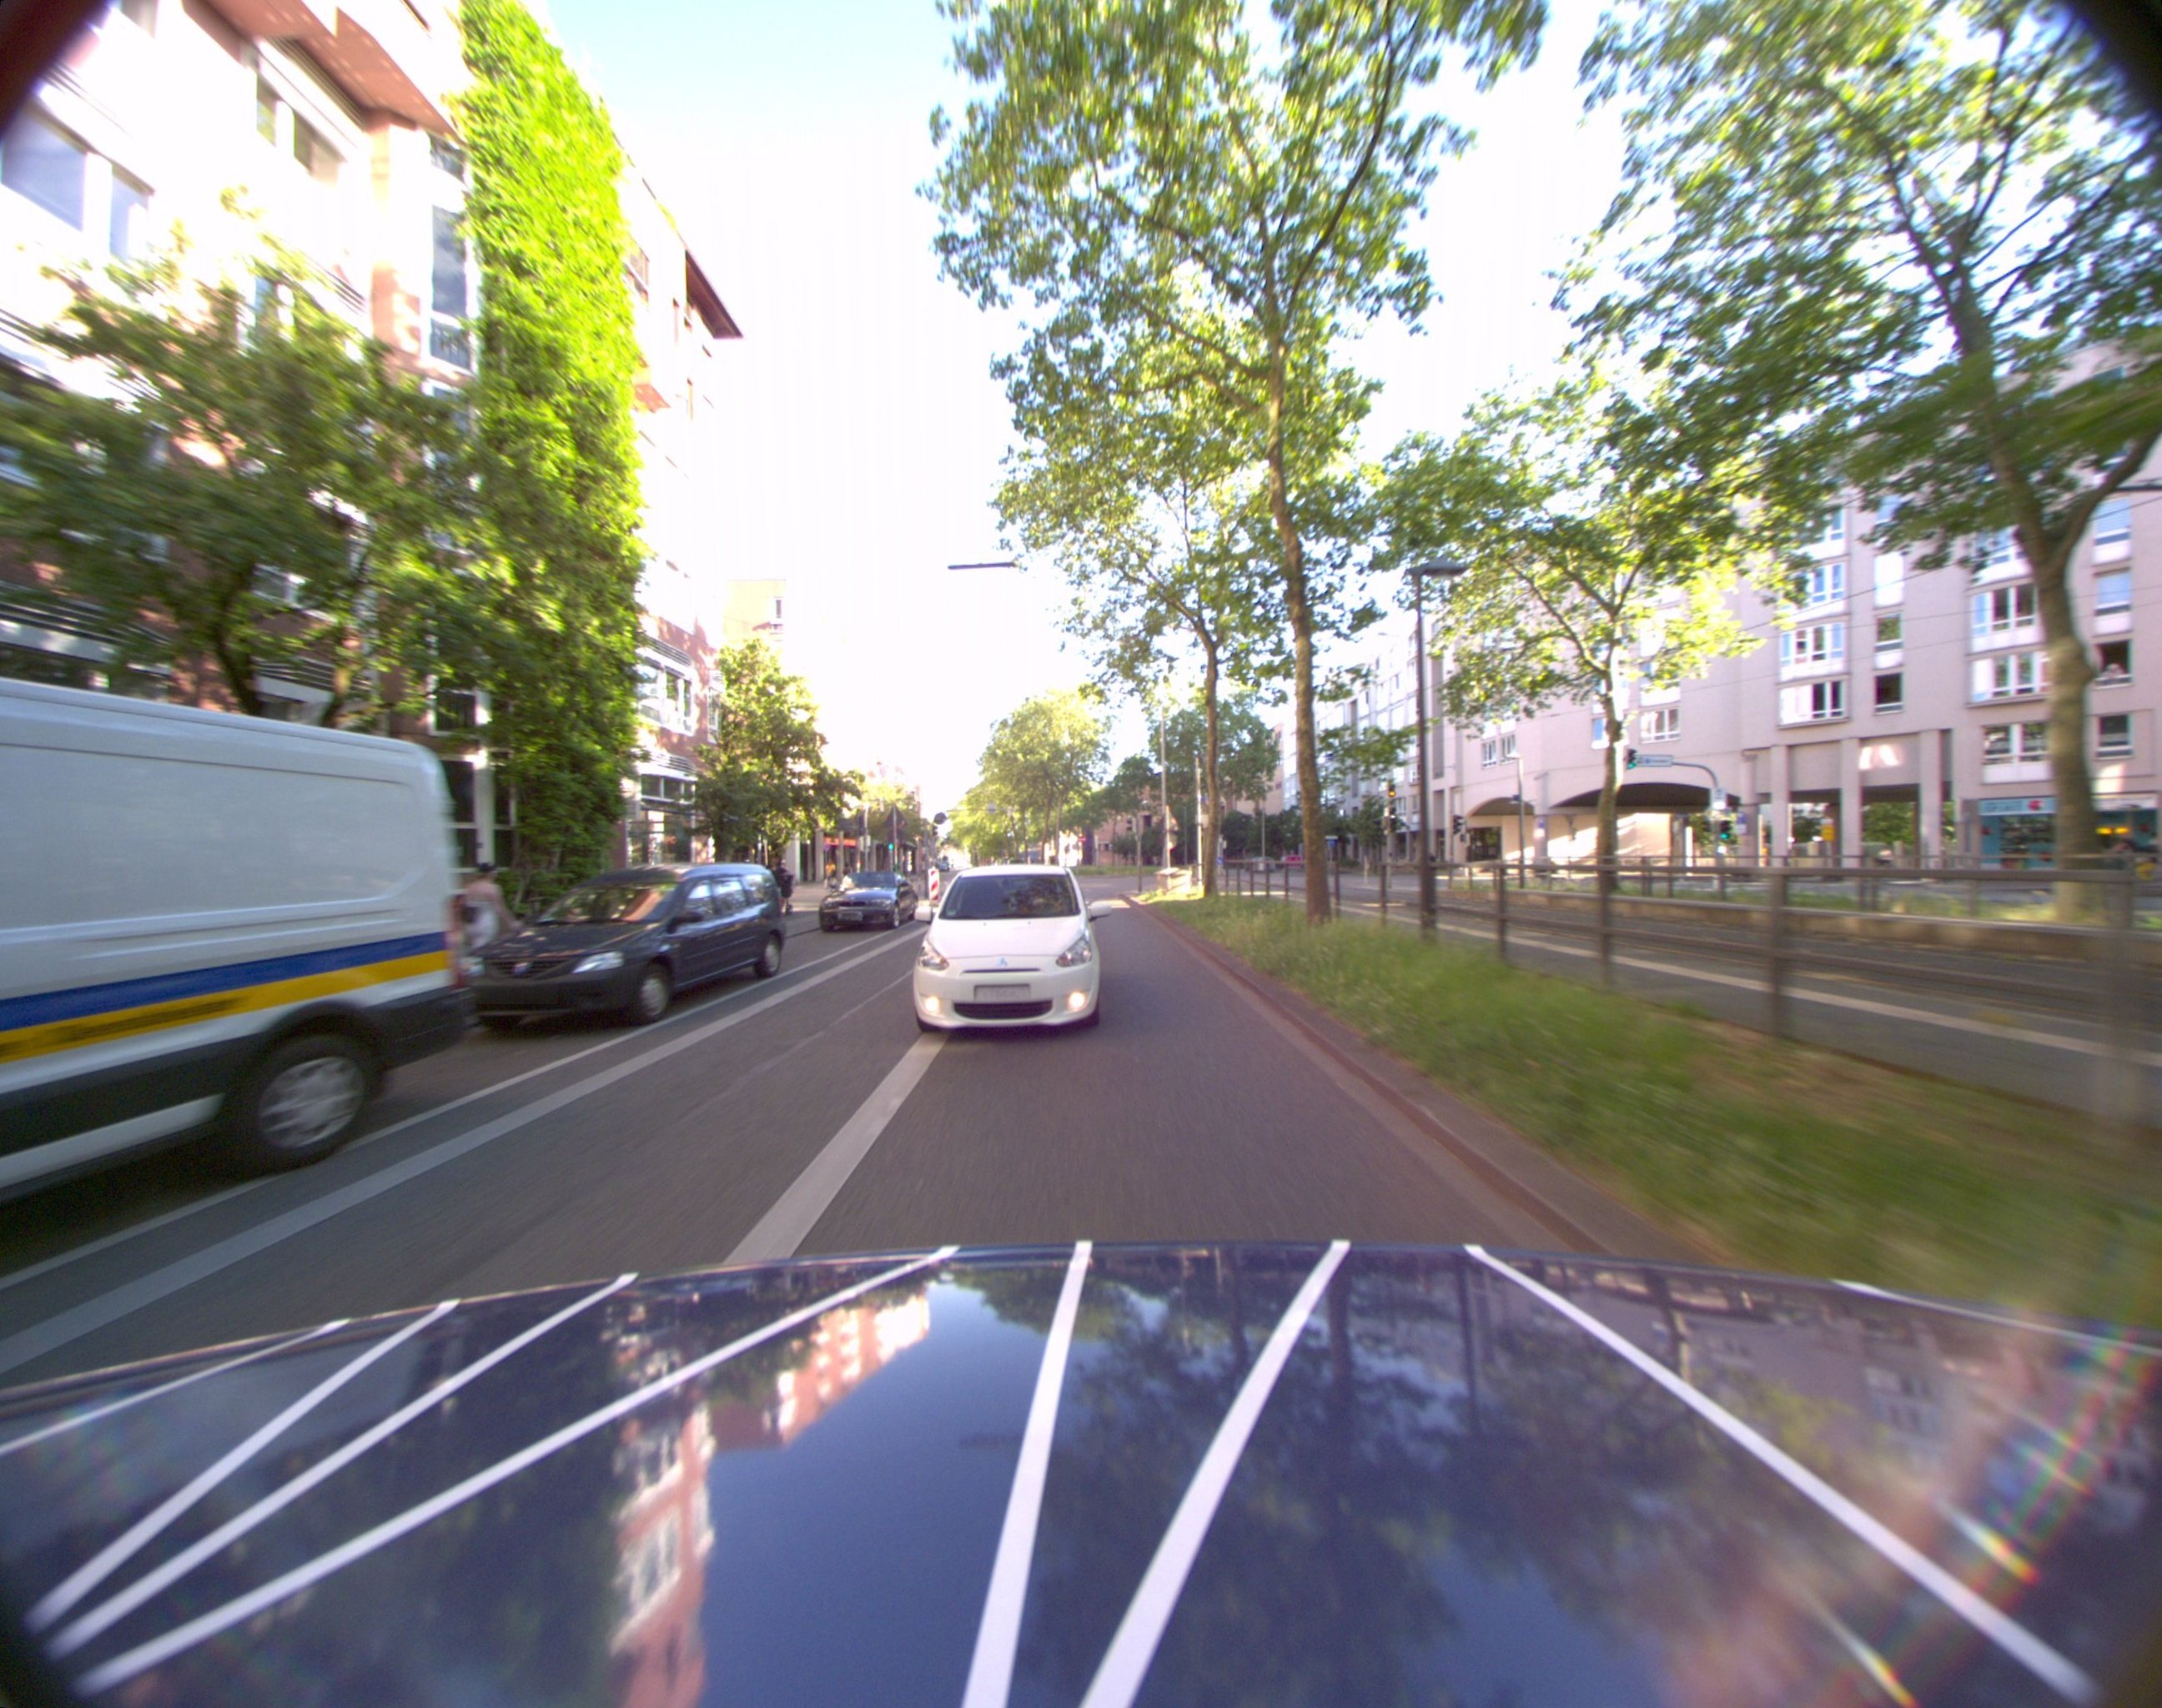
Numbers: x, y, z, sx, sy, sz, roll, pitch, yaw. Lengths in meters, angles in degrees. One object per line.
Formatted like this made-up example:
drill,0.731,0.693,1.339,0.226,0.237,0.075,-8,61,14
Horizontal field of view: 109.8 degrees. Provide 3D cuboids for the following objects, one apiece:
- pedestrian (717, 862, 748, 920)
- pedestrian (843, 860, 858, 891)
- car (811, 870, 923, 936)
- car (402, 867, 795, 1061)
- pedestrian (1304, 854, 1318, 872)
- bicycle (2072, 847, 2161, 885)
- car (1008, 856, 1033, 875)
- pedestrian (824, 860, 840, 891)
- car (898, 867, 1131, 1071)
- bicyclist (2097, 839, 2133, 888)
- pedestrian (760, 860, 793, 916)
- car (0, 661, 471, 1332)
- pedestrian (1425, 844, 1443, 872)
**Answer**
pedestrian,-9.768,1.023,21.311,0.563,1.599,0.599,-1,1,-1
pedestrian,-11.951,1.102,39.395,0.680,1.607,0.556,-1,1,-9
car,-5.107,1.117,18.648,1.809,1.323,3.990,-1,0,-3
car,-5.132,1.018,9.004,1.808,1.617,4.475,-1,0,-1
pedestrian,20.870,0.806,68.884,1.006,1.592,0.876,-2,1,5
bicycle,35.931,0.416,26.356,0.775,1.254,1.814,-3,1,-31
car,-5.600,1.054,71.127,1.999,1.524,3.999,-2,1,-1
pedestrian,-12.918,1.096,39.419,0.680,1.607,0.556,-1,1,-9
car,-0.635,0.941,8.099,1.809,1.492,4.199,-1,0,-3
bicyclist,35.902,0.325,26.381,0.720,1.639,0.667,-3,1,-30
pedestrian,-8.835,0.981,22.092,0.641,1.599,0.720,-1,1,-1
car,-5.178,0.553,2.121,2.120,2.550,5.905,-1,0,0
pedestrian,25.760,0.304,55.386,0.873,2.002,1.009,-1,2,42
